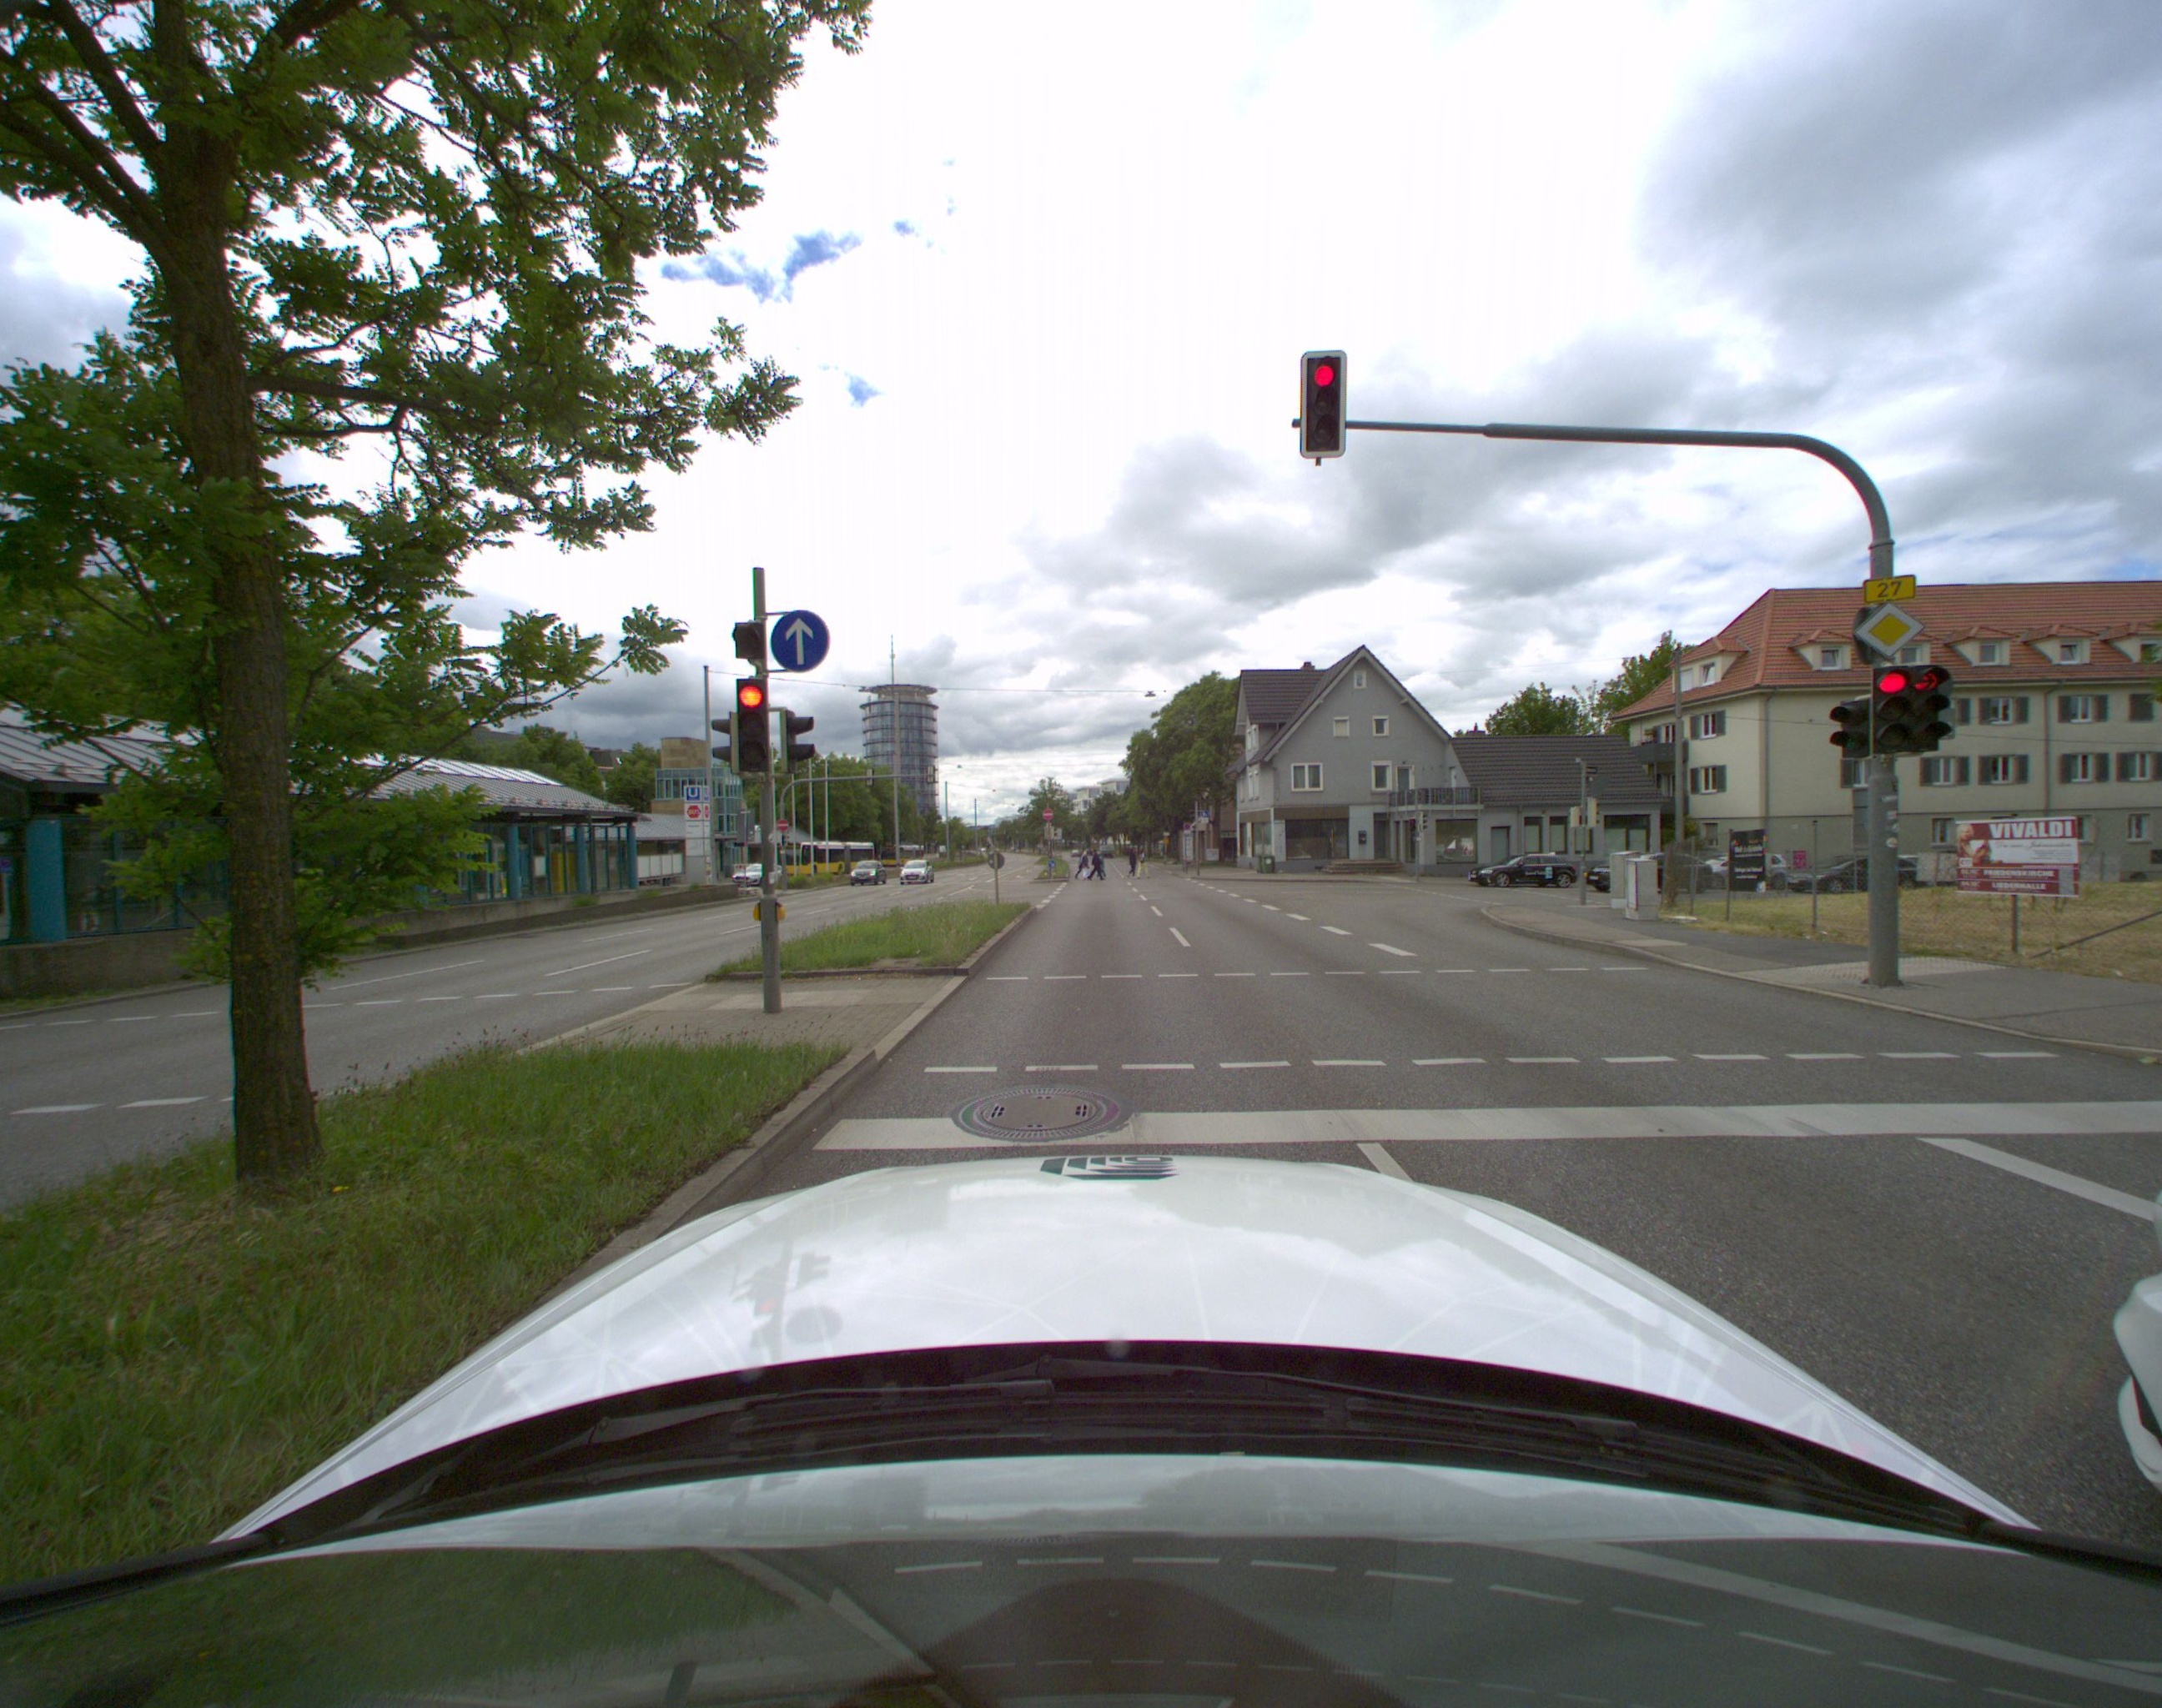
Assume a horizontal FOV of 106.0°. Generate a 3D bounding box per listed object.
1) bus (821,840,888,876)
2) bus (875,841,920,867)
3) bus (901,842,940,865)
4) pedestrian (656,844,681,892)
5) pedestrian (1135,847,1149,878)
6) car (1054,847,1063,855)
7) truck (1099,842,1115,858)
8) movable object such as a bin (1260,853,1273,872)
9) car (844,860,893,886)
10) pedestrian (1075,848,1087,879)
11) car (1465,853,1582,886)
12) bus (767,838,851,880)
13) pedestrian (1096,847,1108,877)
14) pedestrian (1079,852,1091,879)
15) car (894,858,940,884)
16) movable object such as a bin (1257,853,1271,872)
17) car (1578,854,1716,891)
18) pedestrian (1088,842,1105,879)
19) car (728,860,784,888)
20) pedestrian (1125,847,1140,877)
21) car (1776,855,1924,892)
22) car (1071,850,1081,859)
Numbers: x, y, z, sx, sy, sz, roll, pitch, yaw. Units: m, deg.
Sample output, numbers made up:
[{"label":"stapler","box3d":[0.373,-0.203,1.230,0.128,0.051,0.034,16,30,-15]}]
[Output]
[{"label":"bus","box3d":[-23.087,0.360,83.754,2.817,3.430,10.750,-2,0,6]},{"label":"bus","box3d":[-25.703,0.040,114.928,2.817,3.430,10.750,-2,0,6]},{"label":"bus","box3d":[-24.624,-0.076,125.651,2.817,3.430,10.750,-2,0,6]},{"label":"pedestrian","box3d":[-17.543,0.591,34.611,0.680,2.013,0.645,-2,0,-3]},{"label":"pedestrian","box3d":[3.460,0.468,46.064,0.652,1.716,0.451,-2,0,-6]},{"label":"car","box3d":[-4.861,-0.631,176.531,1.988,1.519,3.997,-2,0,-2]},{"label":"truck","box3d":[4.276,-0.731,134.700,2.461,2.611,6.551,0,1,2]},{"label":"movable object such as a bin","box3d":[9.988,0.458,43.839,0.602,1.059,0.590,0,0,3]},{"label":"car","box3d":[-13.457,1.165,51.815,1.987,1.486,4.000,-2,0,0]},{"label":"pedestrian","box3d":[0.010,0.518,45.992,0.611,1.716,0.545,-2,0,-5]},{"label":"car","box3d":[18.775,0.636,34.674,4.075,1.371,1.800,0,0,0]},{"label":"bus","box3d":[-24.174,0.390,73.109,2.817,3.430,10.750,-2,0,6]},{"label":"pedestrian","box3d":[1.238,0.488,47.772,0.582,1.716,0.545,-2,0,-5]},{"label":"pedestrian","box3d":[0.227,0.640,45.359,0.542,1.496,0.486,-2,0,-5]},{"label":"car","box3d":[-10.274,1.043,51.341,1.987,1.486,4.000,-2,0,0]},{"label":"movable object such as a bin","box3d":[9.979,0.455,44.414,0.613,1.043,0.590,0,0,3]},{"label":"car","box3d":[21.726,0.689,31.365,4.075,1.371,1.800,0,0,0]},{"label":"pedestrian","box3d":[0.836,0.359,44.402,0.829,2.013,0.545,-2,0,-6]},{"label":"car","box3d":[-20.974,1.249,52.753,1.798,1.662,4.003,-2,0,3]},{"label":"pedestrian","box3d":[2.958,0.456,46.584,0.744,1.716,0.582,-2,0,-6]},{"label":"car","box3d":[29.756,0.735,31.578,4.075,1.371,1.800,0,0,0]},{"label":"car","box3d":[-0.939,0.142,163.029,1.987,1.830,3.999,0,0,0]}]
